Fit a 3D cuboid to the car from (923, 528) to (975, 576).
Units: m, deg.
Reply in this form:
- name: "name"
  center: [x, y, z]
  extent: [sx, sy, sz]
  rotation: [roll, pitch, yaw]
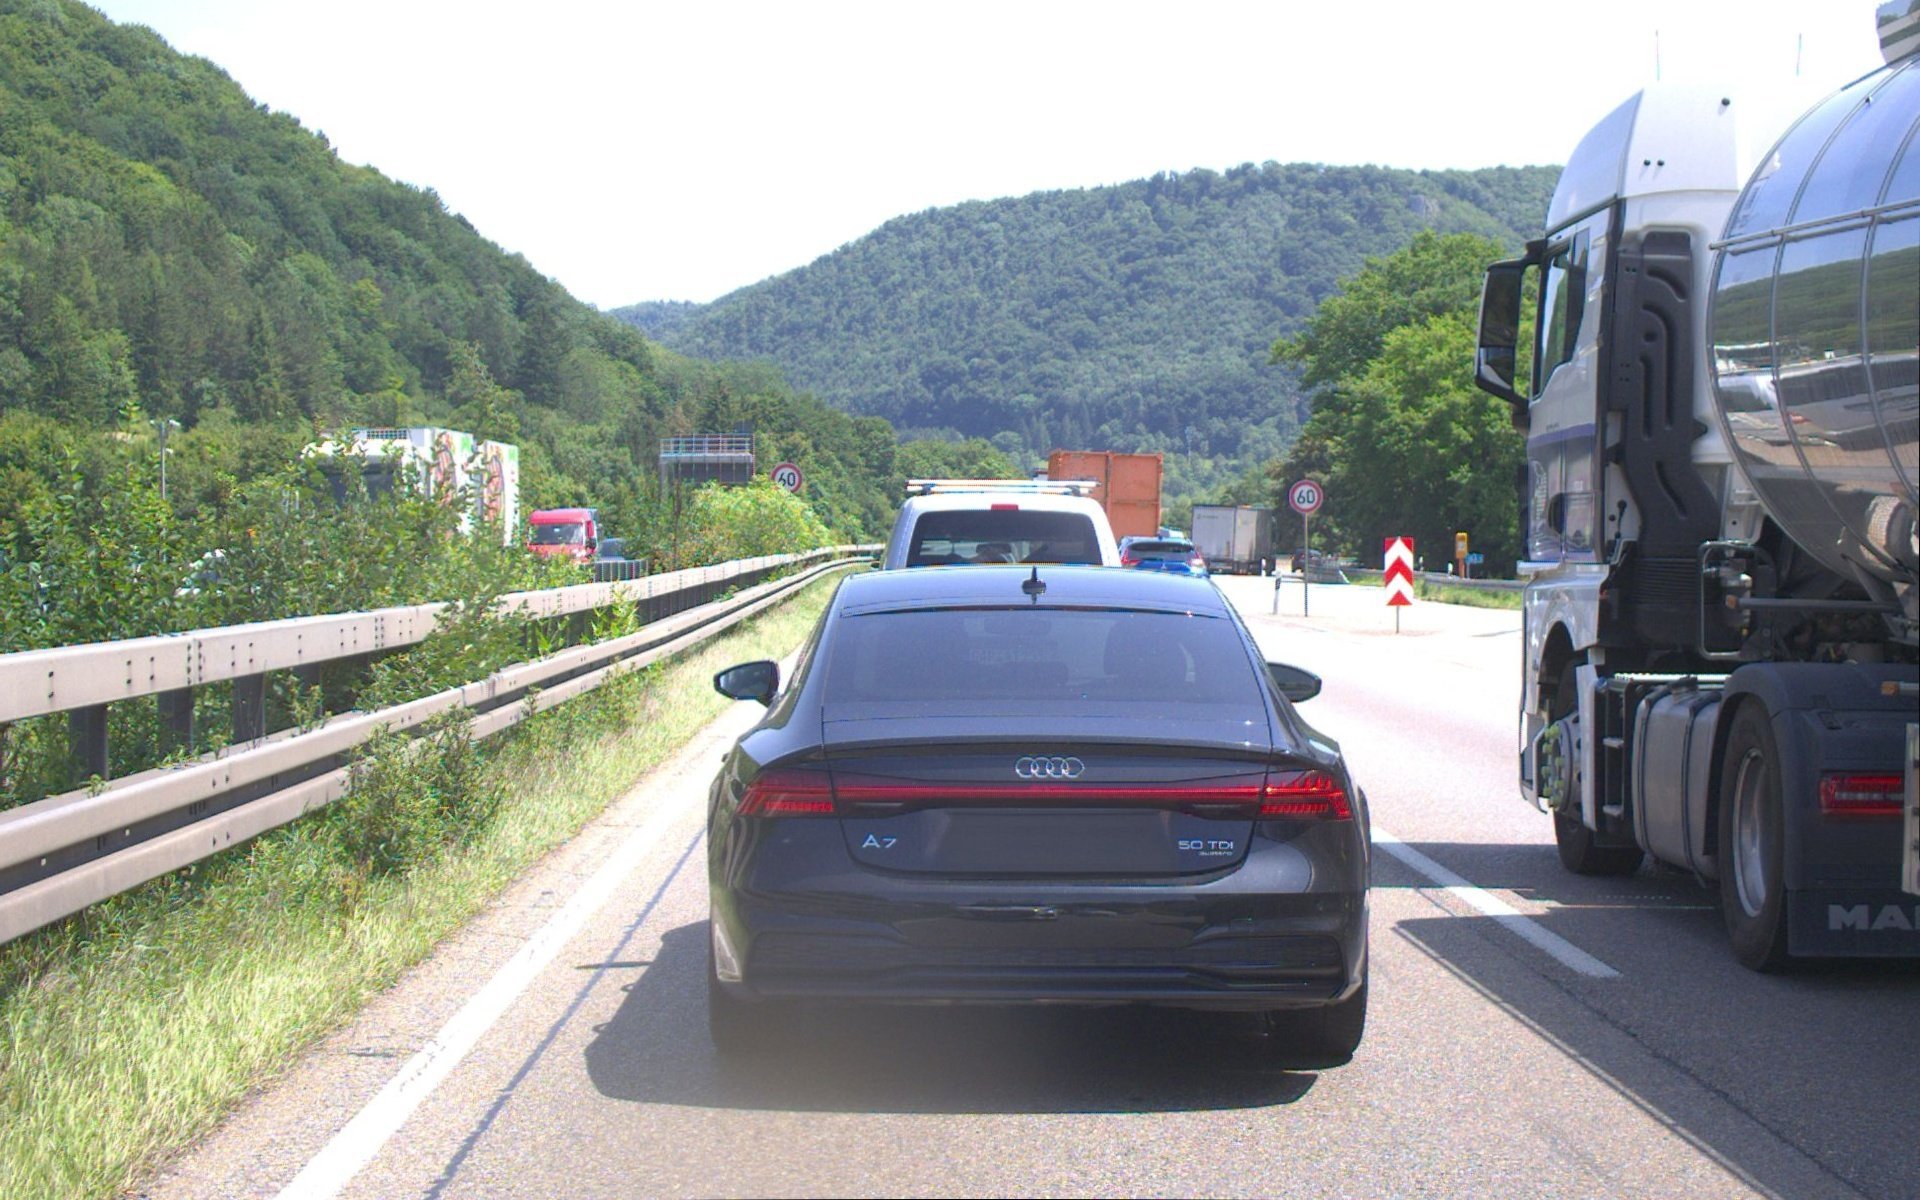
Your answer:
- name: "car"
  center: [-0.359, -1.679, 118.322]
  extent: [1.712, 1.613, 4.000]
  rotation: [0, 1, 1]

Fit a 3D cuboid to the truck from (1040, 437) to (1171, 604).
- name: "truck"
  center: [3.675, -2.078, 90.293]
  extent: [2.817, 3.989, 14.956]
  rotation: [1, 1, 0]

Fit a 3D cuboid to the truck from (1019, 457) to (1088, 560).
- name: "truck"
  center: [3.215, -3.164, 120.299]
  extent: [1.993, 3.435, 11.812]
  rotation: [1, 1, 0]

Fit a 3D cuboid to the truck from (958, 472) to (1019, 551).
- name: "truck"
  center: [1.239, -3.980, 155.354]
  extent: [2.628, 3.429, 11.421]
  rotation: [0, 1, 0]

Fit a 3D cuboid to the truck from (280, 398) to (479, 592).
- name: "truck"
  center: [-12.739, -2.271, 76.325]
  extent: [2.869, 3.992, 10.172]
  rotation: [0, 1, -1]

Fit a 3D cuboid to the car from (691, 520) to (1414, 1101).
- name: "car"
  center: [0.112, 0.502, 10.858]
  extent: [1.849, 1.483, 4.084]
  rotation: [0, 1, -4]

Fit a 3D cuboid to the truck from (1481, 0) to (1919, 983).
- name: "truck"
  center: [3.908, -0.605, 14.423]
  extent: [2.511, 3.745, 5.246]
  rotation: [0, 1, -1]

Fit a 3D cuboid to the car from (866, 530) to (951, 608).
- name: "car"
  center: [-1.087, -0.697, 73.820]
  extent: [1.712, 1.613, 4.000]
  rotation: [0, 1, 1]

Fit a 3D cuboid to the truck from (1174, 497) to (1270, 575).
- name: "truck"
  center: [15.580, -3.772, 202.907]
  extent: [3.795, 4.399, 14.948]
  rotation: [0, 1, 11]

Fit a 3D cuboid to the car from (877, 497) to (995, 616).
- name: "car"
  center: [-0.445, -0.788, 60.602]
  extent: [1.993, 2.007, 4.000]
  rotation: [0, 1, -1]

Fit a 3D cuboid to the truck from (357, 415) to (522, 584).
- name: "truck"
  center: [-12.900, -2.472, 85.906]
  extent: [2.869, 3.967, 9.032]
  rotation: [0, 1, -1]

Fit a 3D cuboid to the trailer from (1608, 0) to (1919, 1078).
- name: "trailer"
  center: [4.008, -0.475, 7.841]
  extent: [2.538, 3.722, 11.893]
  rotation: [0, 1, -1]

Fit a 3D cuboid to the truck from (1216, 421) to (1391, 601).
- name: "truck"
  center: [8.241, -2.150, 84.434]
  extent: [2.817, 3.989, 14.956]
  rotation: [1, 1, 0]

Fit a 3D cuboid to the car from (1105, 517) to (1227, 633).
- name: "car"
  center: [3.666, -0.474, 61.798]
  extent: [1.993, 1.996, 4.000]
  rotation: [0, 1, 1]

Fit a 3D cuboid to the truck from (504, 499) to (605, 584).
- name: "truck"
  center: [-12.780, -1.877, 108.947]
  extent: [2.296, 2.579, 7.968]
  rotation: [1, 1, 0]

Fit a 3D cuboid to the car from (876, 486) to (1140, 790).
- name: "car"
  center: [0.268, 0.191, 22.794]
  extent: [1.576, 1.827, 4.000]
  rotation: [1, 1, -1]

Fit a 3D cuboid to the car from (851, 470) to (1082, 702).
- name: "car"
  center: [0.035, -0.159, 32.000]
  extent: [1.993, 2.007, 4.000]
  rotation: [1, 1, -1]
